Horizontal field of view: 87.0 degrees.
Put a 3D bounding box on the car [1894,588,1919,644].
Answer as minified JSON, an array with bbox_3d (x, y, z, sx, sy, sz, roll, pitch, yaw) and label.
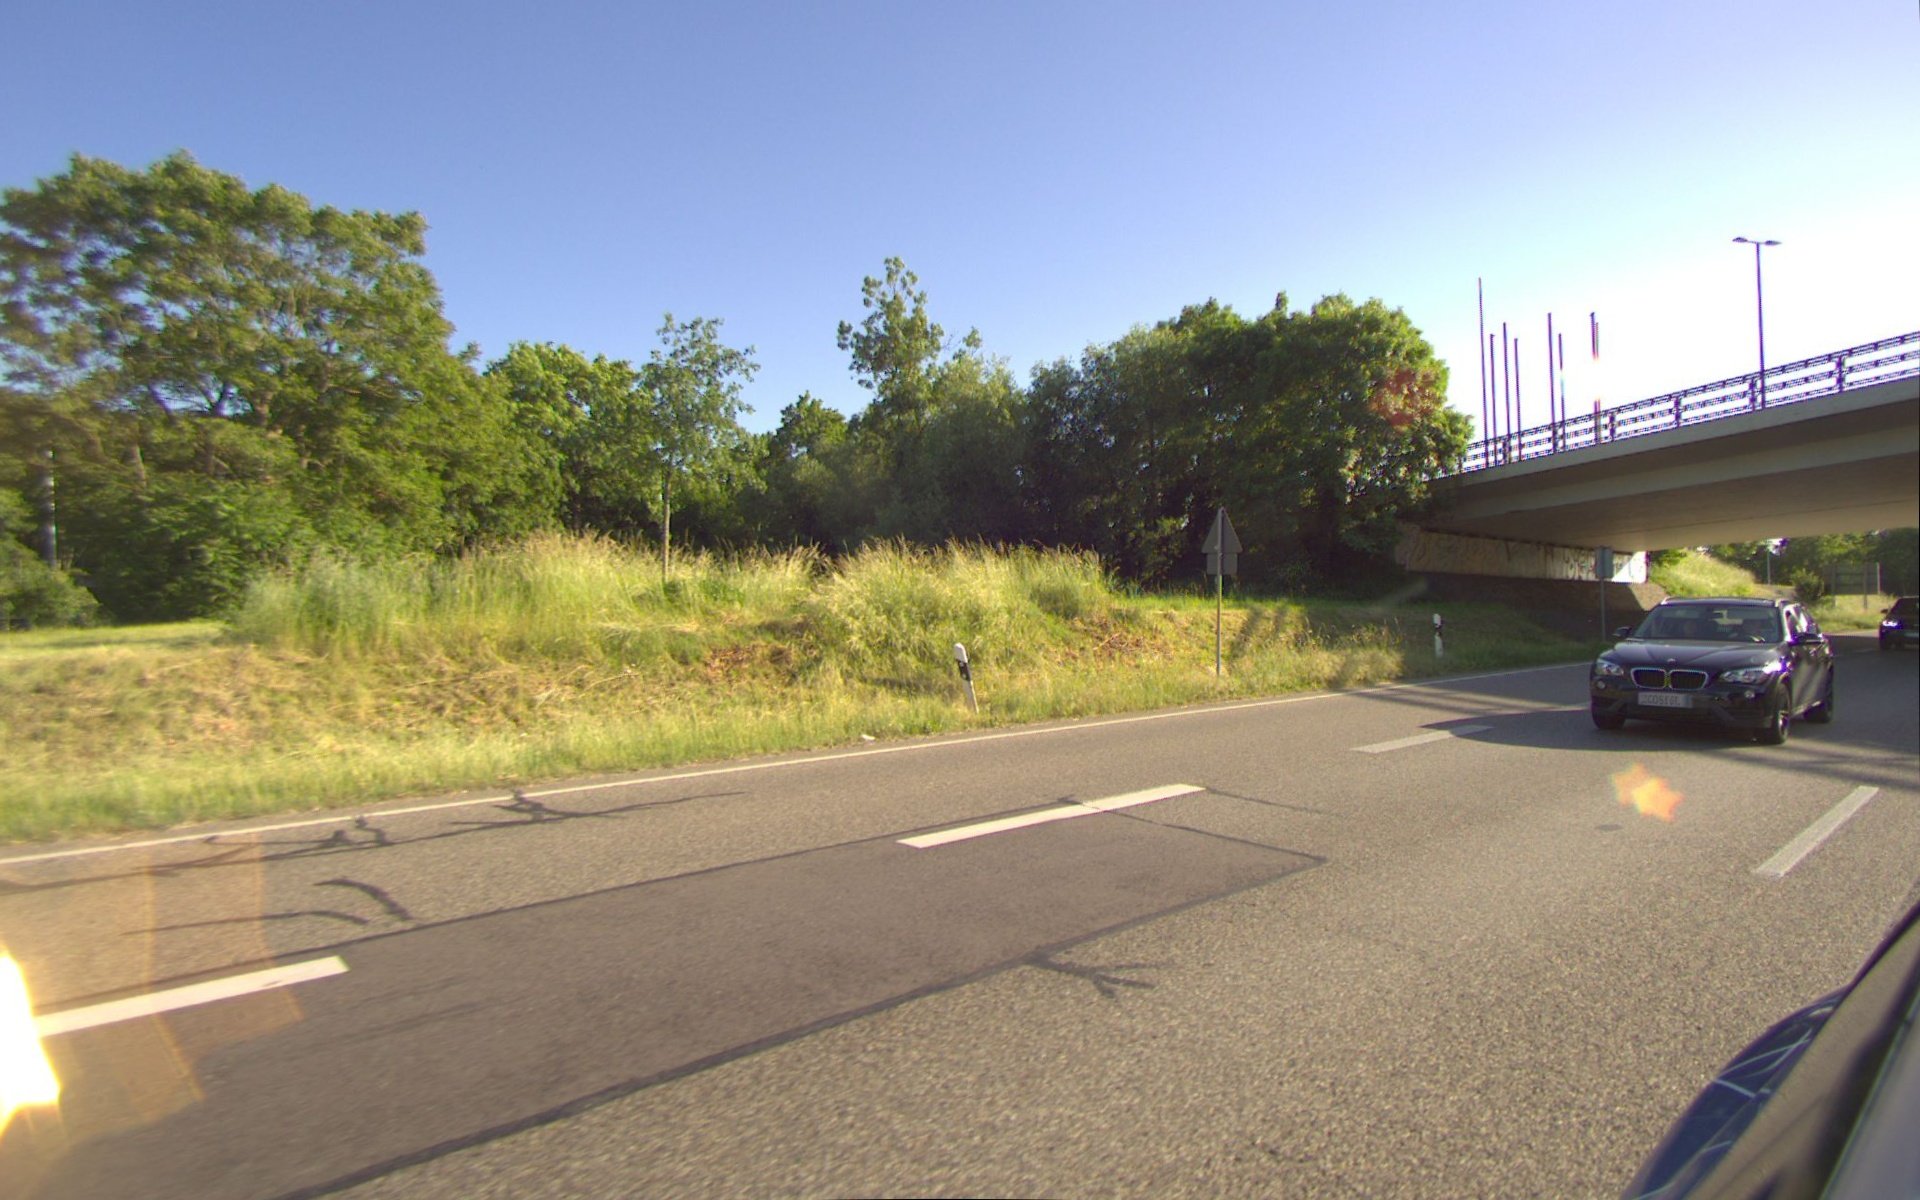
[{"bbox_3d":[29.882,0.452,30.790,4.443,1.592,1.758,-2,1,-42],"label":"car"}]

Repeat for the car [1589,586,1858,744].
[{"bbox_3d":[9.302,0.630,12.182,4.500,1.525,1.701,-1,0,-41],"label":"car"}]
